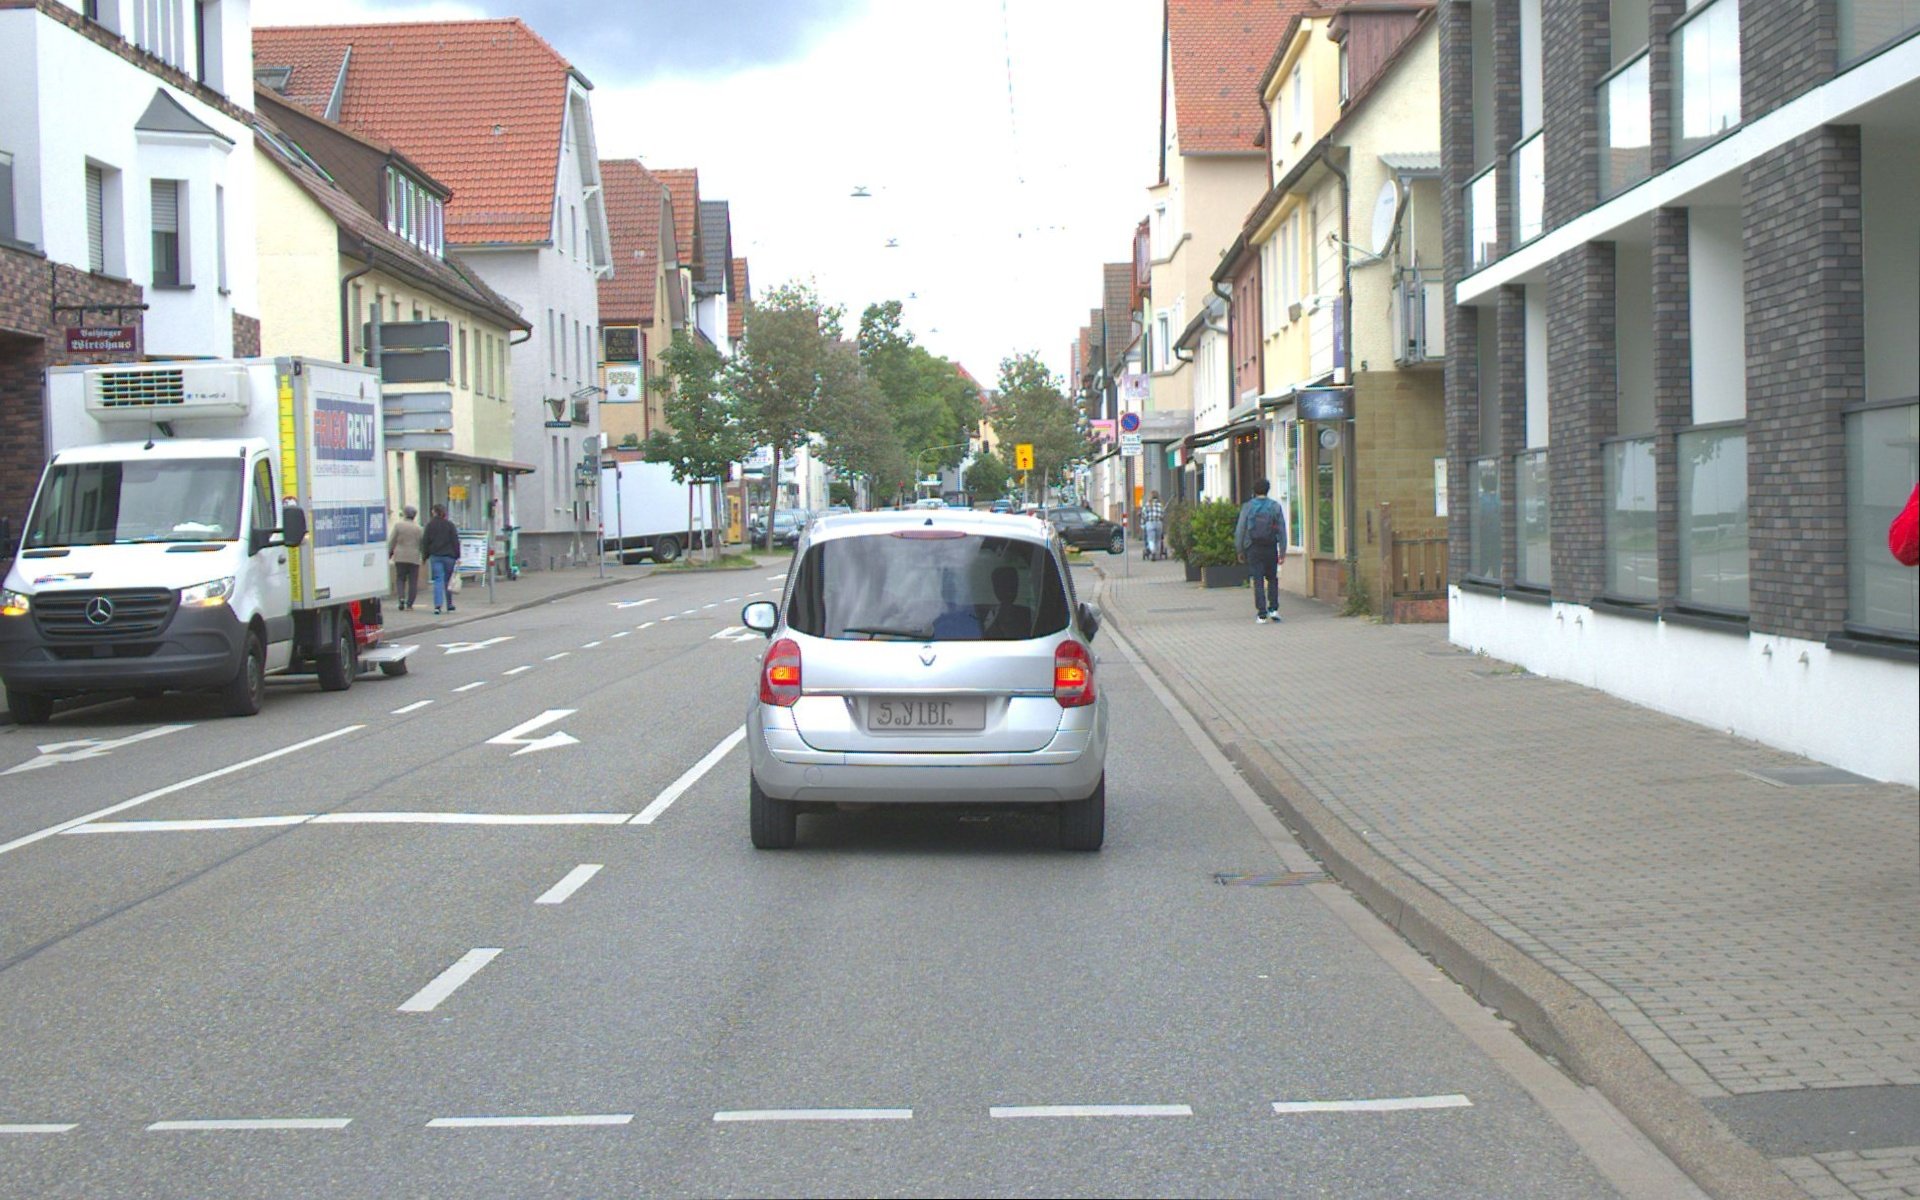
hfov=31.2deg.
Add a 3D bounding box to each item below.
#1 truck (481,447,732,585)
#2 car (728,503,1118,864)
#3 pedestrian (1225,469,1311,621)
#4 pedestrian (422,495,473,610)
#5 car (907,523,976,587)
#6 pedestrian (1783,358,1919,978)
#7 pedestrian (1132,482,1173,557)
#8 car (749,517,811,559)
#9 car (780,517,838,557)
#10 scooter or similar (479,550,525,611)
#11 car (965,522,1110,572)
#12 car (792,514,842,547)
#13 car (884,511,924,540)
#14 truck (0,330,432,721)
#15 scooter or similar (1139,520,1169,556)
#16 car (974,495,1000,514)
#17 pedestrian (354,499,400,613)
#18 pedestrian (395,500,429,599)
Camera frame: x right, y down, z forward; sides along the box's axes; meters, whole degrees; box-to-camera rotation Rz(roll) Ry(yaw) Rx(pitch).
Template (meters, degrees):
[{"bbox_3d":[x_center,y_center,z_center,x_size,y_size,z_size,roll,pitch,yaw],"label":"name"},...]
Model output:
[{"bbox_3d":[-10.307,-2.471,100.657,6.827,3.844,2.604,-3,2,-36],"label":"truck"},{"bbox_3d":[-0.167,0.321,17.232,1.706,1.573,4.000,1,1,0],"label":"car"},{"bbox_3d":[3.721,-0.669,41.580,0.889,1.780,0.785,-3,1,1],"label":"pedestrian"},{"bbox_3d":[-7.910,-0.737,53.051,0.662,1.751,0.688,1,1,1],"label":"pedestrian"},{"bbox_3d":[-0.469,-1.164,88.022,1.706,1.573,4.000,1,1,0],"label":"car"},{"bbox_3d":[3.024,0.168,10.332,0.807,1.780,0.861,-3,1,1],"label":"pedestrian"},{"bbox_3d":[4.721,-1.976,84.380,0.889,1.780,0.785,-3,1,1],"label":"pedestrian"},{"bbox_3d":[-6.149,-2.122,117.629,1.813,1.349,4.000,-2,1,1],"label":"car"},{"bbox_3d":[-5.367,-2.266,122.744,1.813,1.349,4.000,-2,1,1],"label":"car"},{"bbox_3d":[-9.854,-0.430,74.017,0.575,1.265,2.548,-2,1,1],"label":"scooter or similar"},{"bbox_3d":[2.158,-1.481,96.049,3.729,1.309,1.521,0,1,-20],"label":"car"},{"bbox_3d":[-5.985,-2.930,144.327,1.813,1.349,4.000,-2,1,1],"label":"car"},{"bbox_3d":[-2.774,-3.696,170.002,1.813,1.349,3.857,-2,1,1],"label":"car"},{"bbox_3d":[-6.628,-0.666,30.721,2.435,2.943,8.365,-2,1,0],"label":"truck"},{"bbox_3d":[4.805,-1.536,85.188,0.680,0.830,0.823,-3,1,1],"label":"scooter or similar"},{"bbox_3d":[1.916,-6.789,244.495,1.813,1.349,4.000,-2,1,1],"label":"car"},{"bbox_3d":[-9.066,-0.693,53.469,0.579,1.751,0.688,1,1,1],"label":"pedestrian"},{"bbox_3d":[-8.503,-0.791,53.356,0.426,1.520,0.553,1,1,1],"label":"pedestrian"}]
